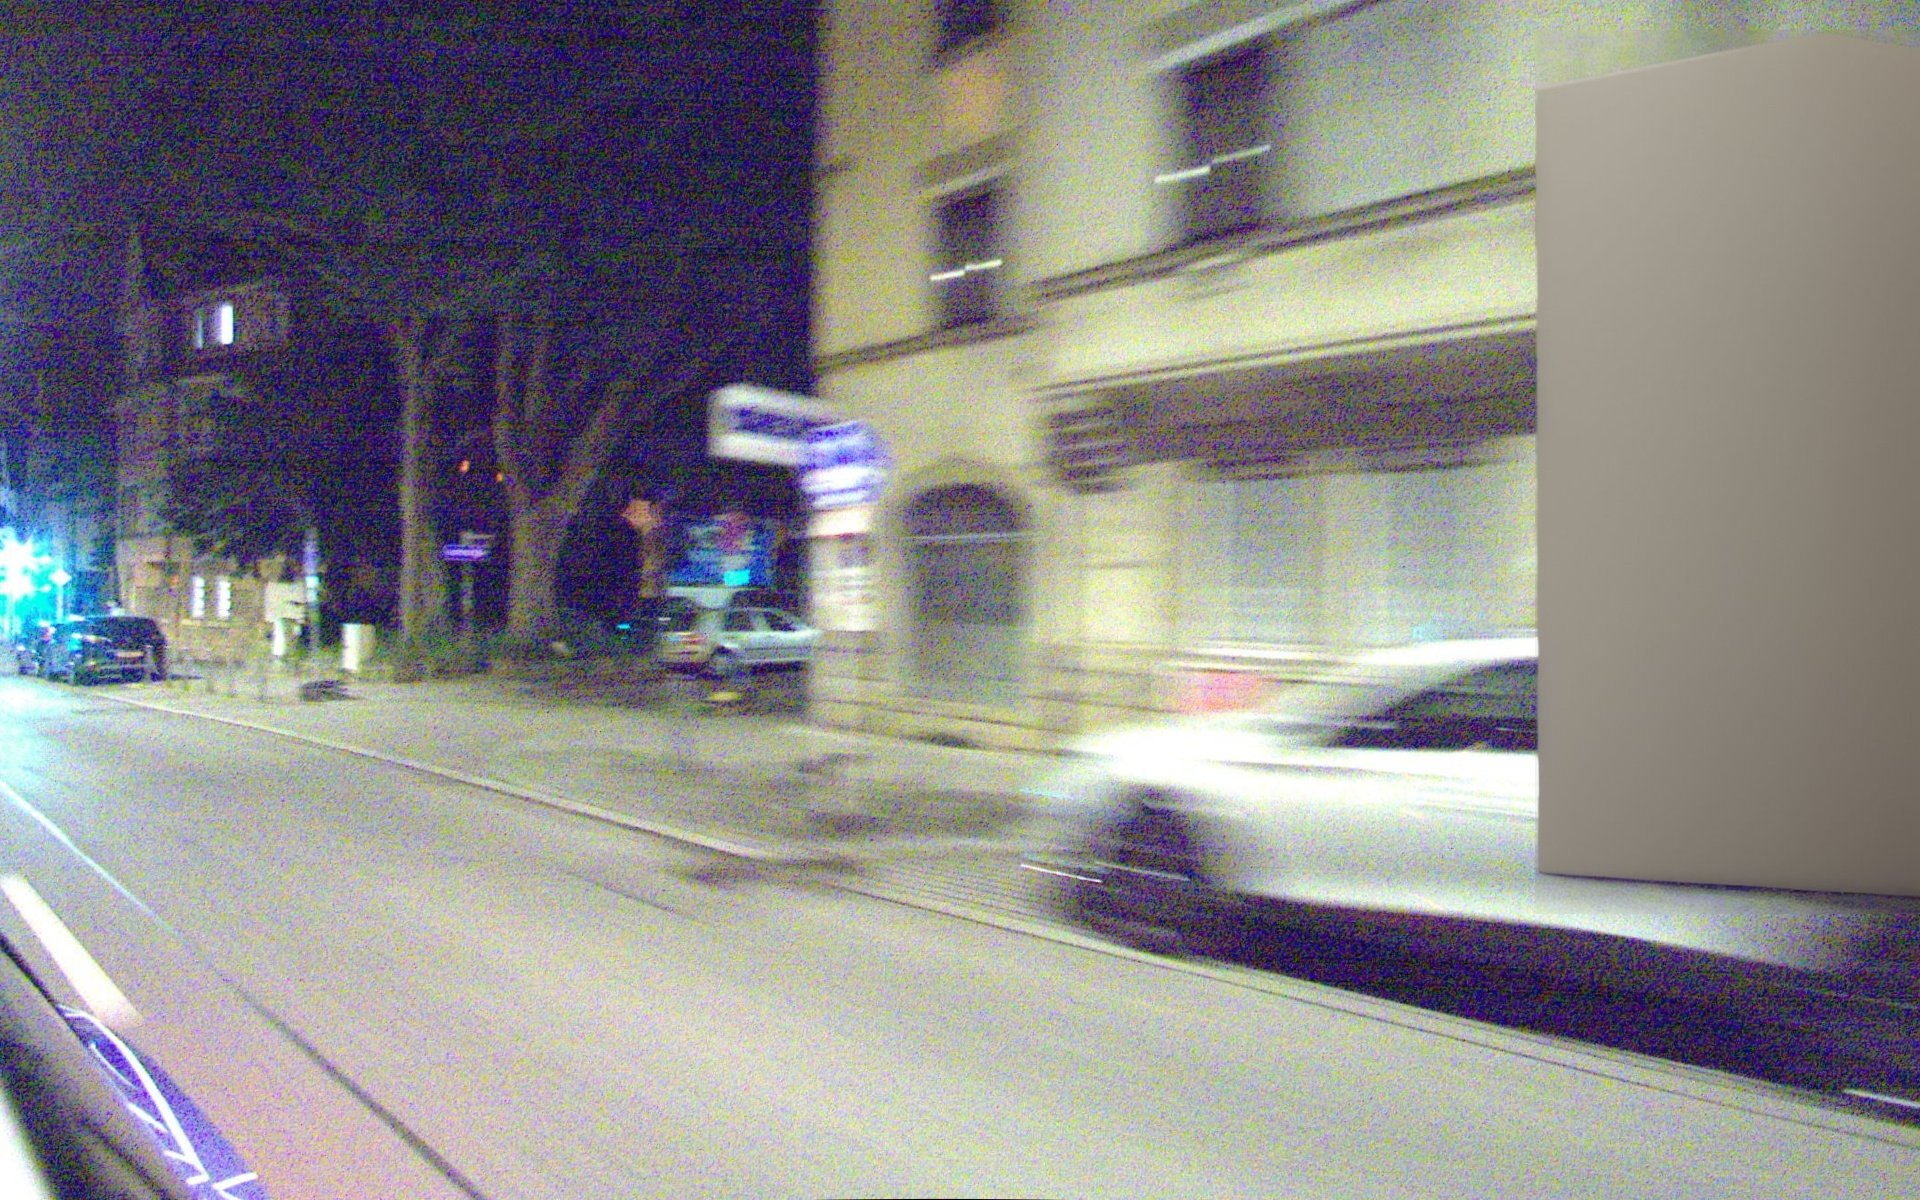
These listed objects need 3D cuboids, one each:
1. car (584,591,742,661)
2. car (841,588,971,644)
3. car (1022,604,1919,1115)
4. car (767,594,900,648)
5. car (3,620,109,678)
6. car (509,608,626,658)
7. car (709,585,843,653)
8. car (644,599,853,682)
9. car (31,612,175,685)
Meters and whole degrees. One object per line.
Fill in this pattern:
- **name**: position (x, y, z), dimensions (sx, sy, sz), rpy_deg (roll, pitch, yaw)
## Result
- **car**: position (-7.472, 0.619, 25.288), dimensions (4.184, 1.549, 1.739), rpy_deg (-1, 2, 40)
- **car**: position (-1.676, 0.445, 30.258), dimensions (1.822, 1.555, 4.159), rpy_deg (-1, 0, -38)
- **car**: position (2.549, 0.782, 4.356), dimensions (4.343, 1.495, 1.796), rpy_deg (-1, -1, 39)
- **car**: position (-3.669, 0.569, 28.832), dimensions (1.652, 1.428, 4.334), rpy_deg (-1, 0, -40)
- **car**: position (-26.142, 1.364, 29.240), dimensions (3.696, 1.526, 1.632), rpy_deg (-1, 0, 37)
- **car**: position (-11.145, 0.899, 28.689), dimensions (3.559, 1.326, 1.541), rpy_deg (-1, 0, 39)
- **car**: position (-4.972, 0.461, 26.951), dimensions (1.734, 1.618, 3.987), rpy_deg (-3, 2, -40)
- **car**: position (-4.409, 0.789, 21.400), dimensions (3.937, 1.435, 1.765), rpy_deg (-3, 1, -40)
- **car**: position (-21.659, 1.201, 25.527), dimensions (4.664, 1.663, 1.831), rpy_deg (-2, -1, 38)
